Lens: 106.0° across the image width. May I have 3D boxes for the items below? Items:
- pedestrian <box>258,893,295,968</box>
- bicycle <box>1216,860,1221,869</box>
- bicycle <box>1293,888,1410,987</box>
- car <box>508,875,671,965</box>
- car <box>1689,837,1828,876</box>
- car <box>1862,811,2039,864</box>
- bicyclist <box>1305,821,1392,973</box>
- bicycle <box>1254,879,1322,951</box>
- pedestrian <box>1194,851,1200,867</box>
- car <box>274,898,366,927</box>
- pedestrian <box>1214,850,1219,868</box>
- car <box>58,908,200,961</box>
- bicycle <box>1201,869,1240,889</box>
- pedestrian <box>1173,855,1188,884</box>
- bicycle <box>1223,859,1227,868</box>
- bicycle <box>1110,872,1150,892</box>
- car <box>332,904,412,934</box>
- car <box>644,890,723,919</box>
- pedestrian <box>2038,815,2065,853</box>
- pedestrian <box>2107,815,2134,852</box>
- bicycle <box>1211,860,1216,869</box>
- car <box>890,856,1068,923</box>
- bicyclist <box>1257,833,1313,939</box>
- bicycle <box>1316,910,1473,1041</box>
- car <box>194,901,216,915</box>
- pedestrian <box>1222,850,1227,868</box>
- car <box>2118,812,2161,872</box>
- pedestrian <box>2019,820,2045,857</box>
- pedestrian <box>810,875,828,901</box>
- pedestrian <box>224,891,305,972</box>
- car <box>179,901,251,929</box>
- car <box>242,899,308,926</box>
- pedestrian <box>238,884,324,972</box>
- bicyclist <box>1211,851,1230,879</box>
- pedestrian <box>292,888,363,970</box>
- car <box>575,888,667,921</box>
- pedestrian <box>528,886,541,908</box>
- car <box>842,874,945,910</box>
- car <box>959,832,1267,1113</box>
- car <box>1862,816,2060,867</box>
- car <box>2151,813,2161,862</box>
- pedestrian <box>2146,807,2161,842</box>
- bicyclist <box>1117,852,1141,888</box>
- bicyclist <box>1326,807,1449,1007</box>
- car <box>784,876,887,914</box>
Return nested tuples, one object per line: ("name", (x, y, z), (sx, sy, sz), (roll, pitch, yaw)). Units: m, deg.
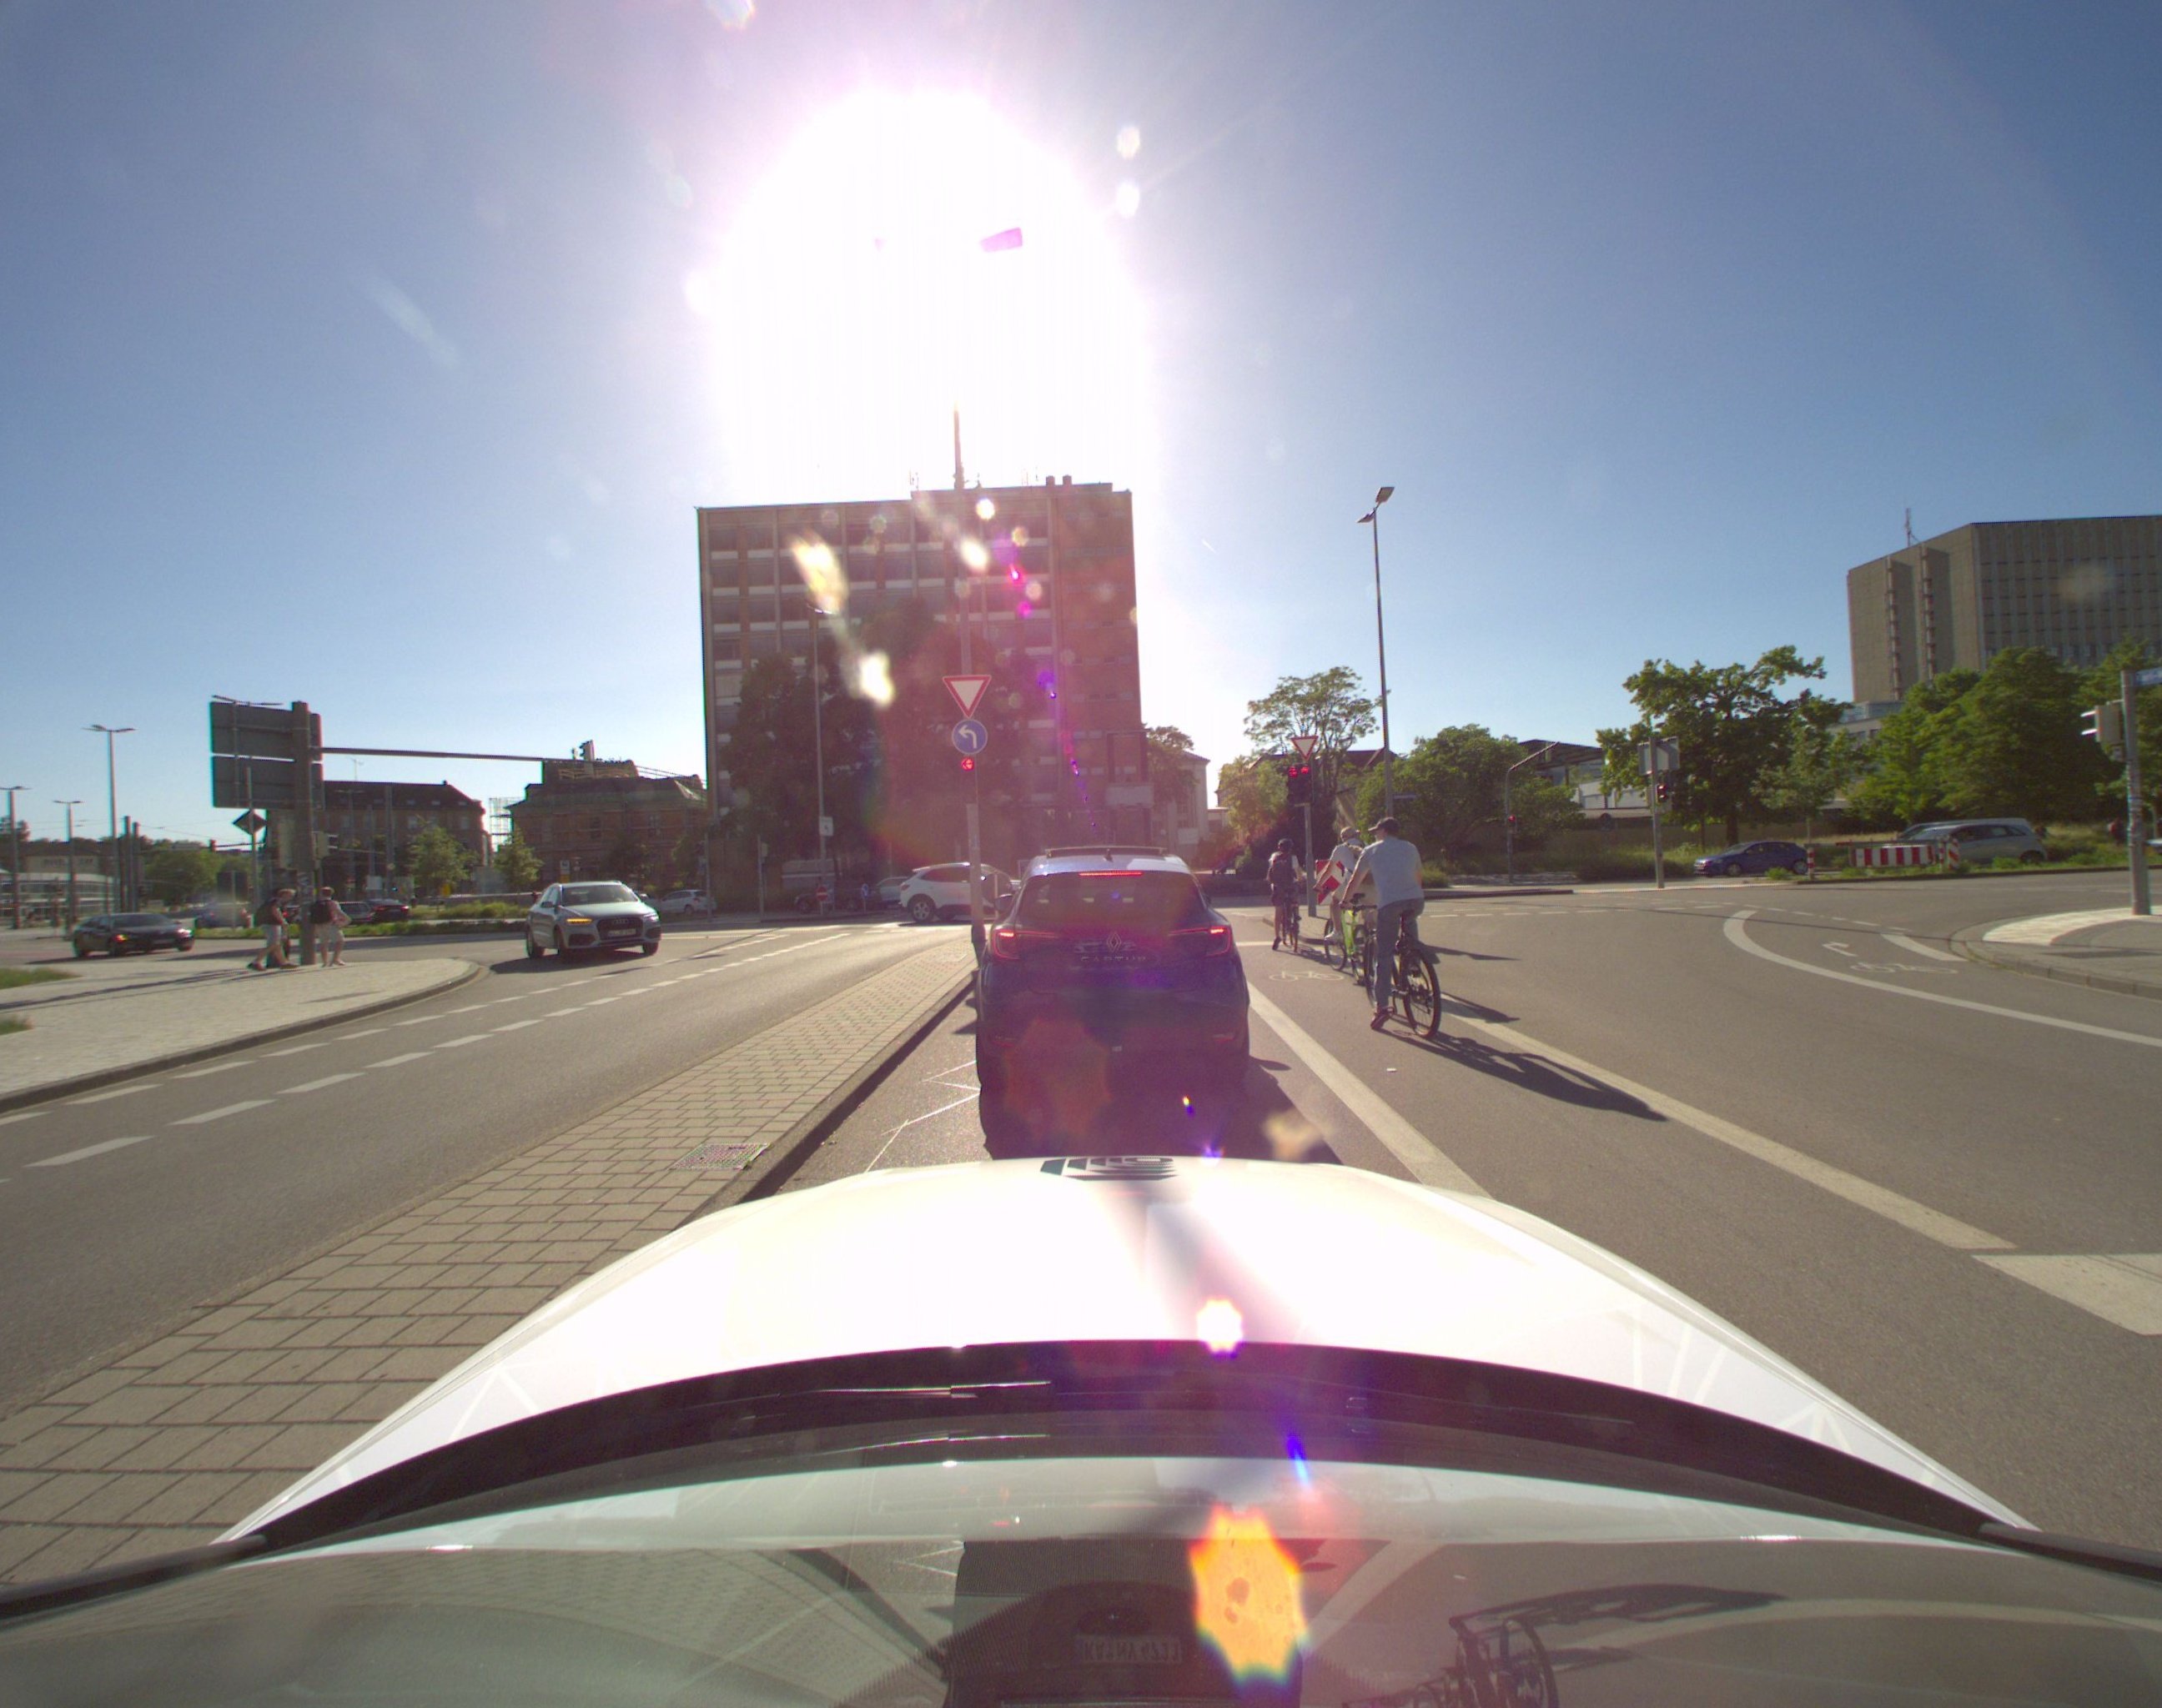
("pedestrian", (-19.200, 1.808, 19.441), (0.600, 1.729, 0.572), (-2, -1, -45))
("bicycle", (15.869, 1.221, 93.834), (0.403, 0.973, 1.686), (0, -1, 6))
("bicycle", (3.210, 0.955, 9.864), (0.657, 1.003, 1.967), (0, -1, -4))
("car", (-10.570, 1.366, 17.390), (4.203, 1.581, 1.805), (-4, 0, 42))
("car", (28.212, 0.099, 34.020), (4.141, 1.435, 1.746), (-2, -1, 7))
("car", (35.939, -0.641, 33.791), (4.852, 2.107, 2.004), (0, -1, 7))
("bicyclist", (3.211, 0.494, 9.862), (0.644, 1.739, 1.065), (0, -1, -4))
("bicycle", (3.243, 0.927, 12.946), (0.735, 0.995, 2.177), (0, -1, 6))
("pedestrian", (13.231, 0.577, 92.768), (0.621, 1.856, 0.564), (-2, -1, 4))
("car", (-42.224, 3.258, 45.187), (4.841, 1.388, 1.854), (-3, -1, 22))
("pedestrian", (15.099, 0.597, 90.897), (0.473, 2.014, 0.524), (-2, -1, 8))
("car", (-33.572, 2.836, 28.718), (4.726, 1.505, 1.830), (-4, 0, 23))
("bicycle", (7.528, 1.336, 43.961), (2.063, 0.964, 0.600), (-3, -1, 10))
("pedestrian", (5.596, 0.868, 45.710), (0.732, 1.603, 0.601), (-3, -1, 14))
("bicycle", (16.647, 1.075, 94.185), (0.403, 0.973, 1.686), (0, -1, 6))
("bicycle", (2.657, 1.531, 44.078), (2.067, 0.930, 0.698), (-3, 1, 12))
("car", (-42.568, 3.919, 48.906), (4.334, 1.632, 1.854), (-3, -1, 23))
("car", (-22.301, 2.829, 45.699), (3.805, 1.435, 1.751), (-3, -2, 19))
("pedestrian", (46.339, -0.963, 38.899), (0.559, 1.778, 0.528), (-2, -1, 5))
("pedestrian", (50.522, -0.995, 39.575), (0.559, 1.778, 0.528), (-2, -1, 5))
("bicycle", (15.251, 1.226, 93.893), (0.403, 0.973, 1.686), (0, -1, 6))
("car", (-2.918, 1.040, 23.480), (4.652, 1.619, 1.851), (-4, -3, 14))
("bicyclist", (3.234, 0.500, 12.999), (0.722, 1.629, 0.970), (0, -1, 6))
("bicycle", (2.716, 1.010, 7.308), (0.737, 0.896, 1.980), (0, -1, 3))
("car", (-136.490, 8.426, 126.860), (3.948, 2.013, 2.013), (-3, -1, 38))
("pedestrian", (16.207, 0.600, 92.195), (0.473, 2.014, 0.469), (-2, -1, 8))
("car", (41.770, -0.451, 29.805), (4.754, 2.161, 2.003), (0, -1, 5))
("pedestrian", (46.223, -0.743, 39.585), (0.559, 1.778, 0.528), (-2, -1, 5))
("pedestrian", (-16.893, 2.186, 52.518), (0.853, 1.571, 0.562), (-5, -1, 17))
("pedestrian", (-18.149, 1.703, 18.115), (0.900, 1.690, 0.839), (-4, -3, -3))
("car", (-55.117, 3.894, 51.837), (4.332, 1.632, 1.855), (-3, 0, 25))
("car", (-53.821, 3.919, 54.385), (4.331, 1.632, 1.855), (-3, -1, 27))
("pedestrian", (-17.474, 1.587, 17.811), (0.697, 1.800, 1.108), (-5, -3, 20))
("bicyclist", (7.517, 0.585, 43.966), (0.931, 1.429, 0.600), (-3, -1, 9))
("pedestrian", (-16.546, 1.635, 17.901), (0.791, 1.690, 0.787), (-4, -3, -7))
("car", (-22.580, 2.454, 40.004), (3.806, 1.435, 1.751), (-2, -1, 17))
("pedestrian", (-42.795, 3.363, 63.787), (0.541, 1.615, 0.653), (-3, -1, 41))
("car", (-9.651, 1.959, 41.931), (4.786, 1.632, 1.852), (-2, -1, 17))
("car", (0.199, 0.708, 6.814), (1.798, 1.632, 3.999), (-1, 0, 0))
("car", (28.134, -0.382, 26.179), (4.025, 1.408, 1.872), (-2, -1, 8))
("car", (37.112, -0.630, 25.356), (4.713, 1.584, 2.002), (-2, -1, 3))
("pedestrian", (52.704, -1.445, 39.799), (0.559, 1.695, 0.528), (-3, -1, 5))
("bicyclist", (2.590, 0.869, 44.098), (1.094, 1.867, 0.655), (-3, 1, 12))
("bicyclist", (2.708, 0.445, 7.308), (0.748, 1.668, 1.017), (0, -1, 3))
("car", (-11.784, 1.958, 39.168), (4.341, 1.632, 1.851), (-2, -1, 14))
